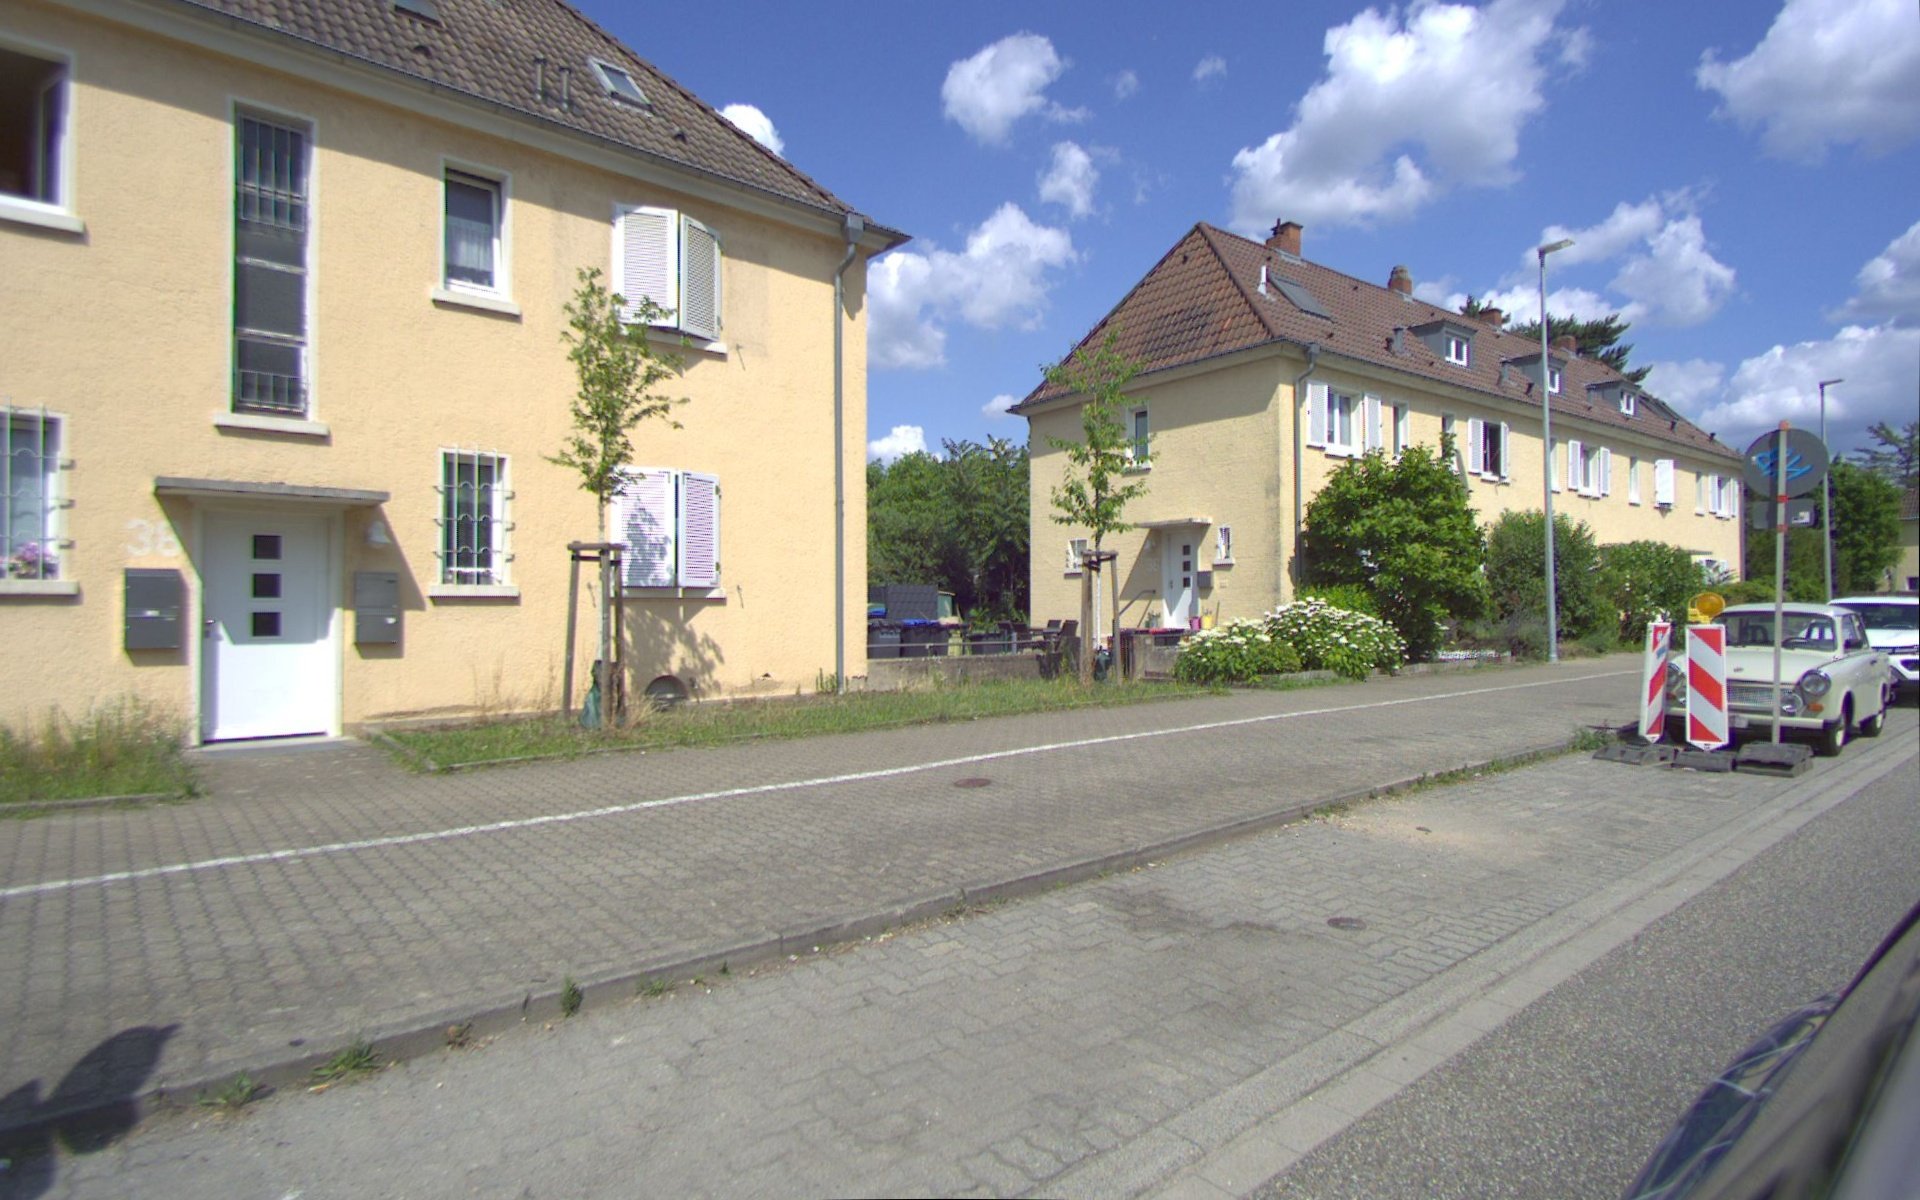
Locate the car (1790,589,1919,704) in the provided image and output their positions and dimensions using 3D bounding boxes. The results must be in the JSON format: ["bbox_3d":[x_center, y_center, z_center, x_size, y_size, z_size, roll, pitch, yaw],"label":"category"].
[{"bbox_3d":[13.669,0.600,14.827,3.739,1.500,1.532,0,0,-38],"label":"car"}]

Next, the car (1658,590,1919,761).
[{"bbox_3d":[9.002,0.659,10.864,4.036,1.521,1.466,0,0,-40],"label":"car"}]
